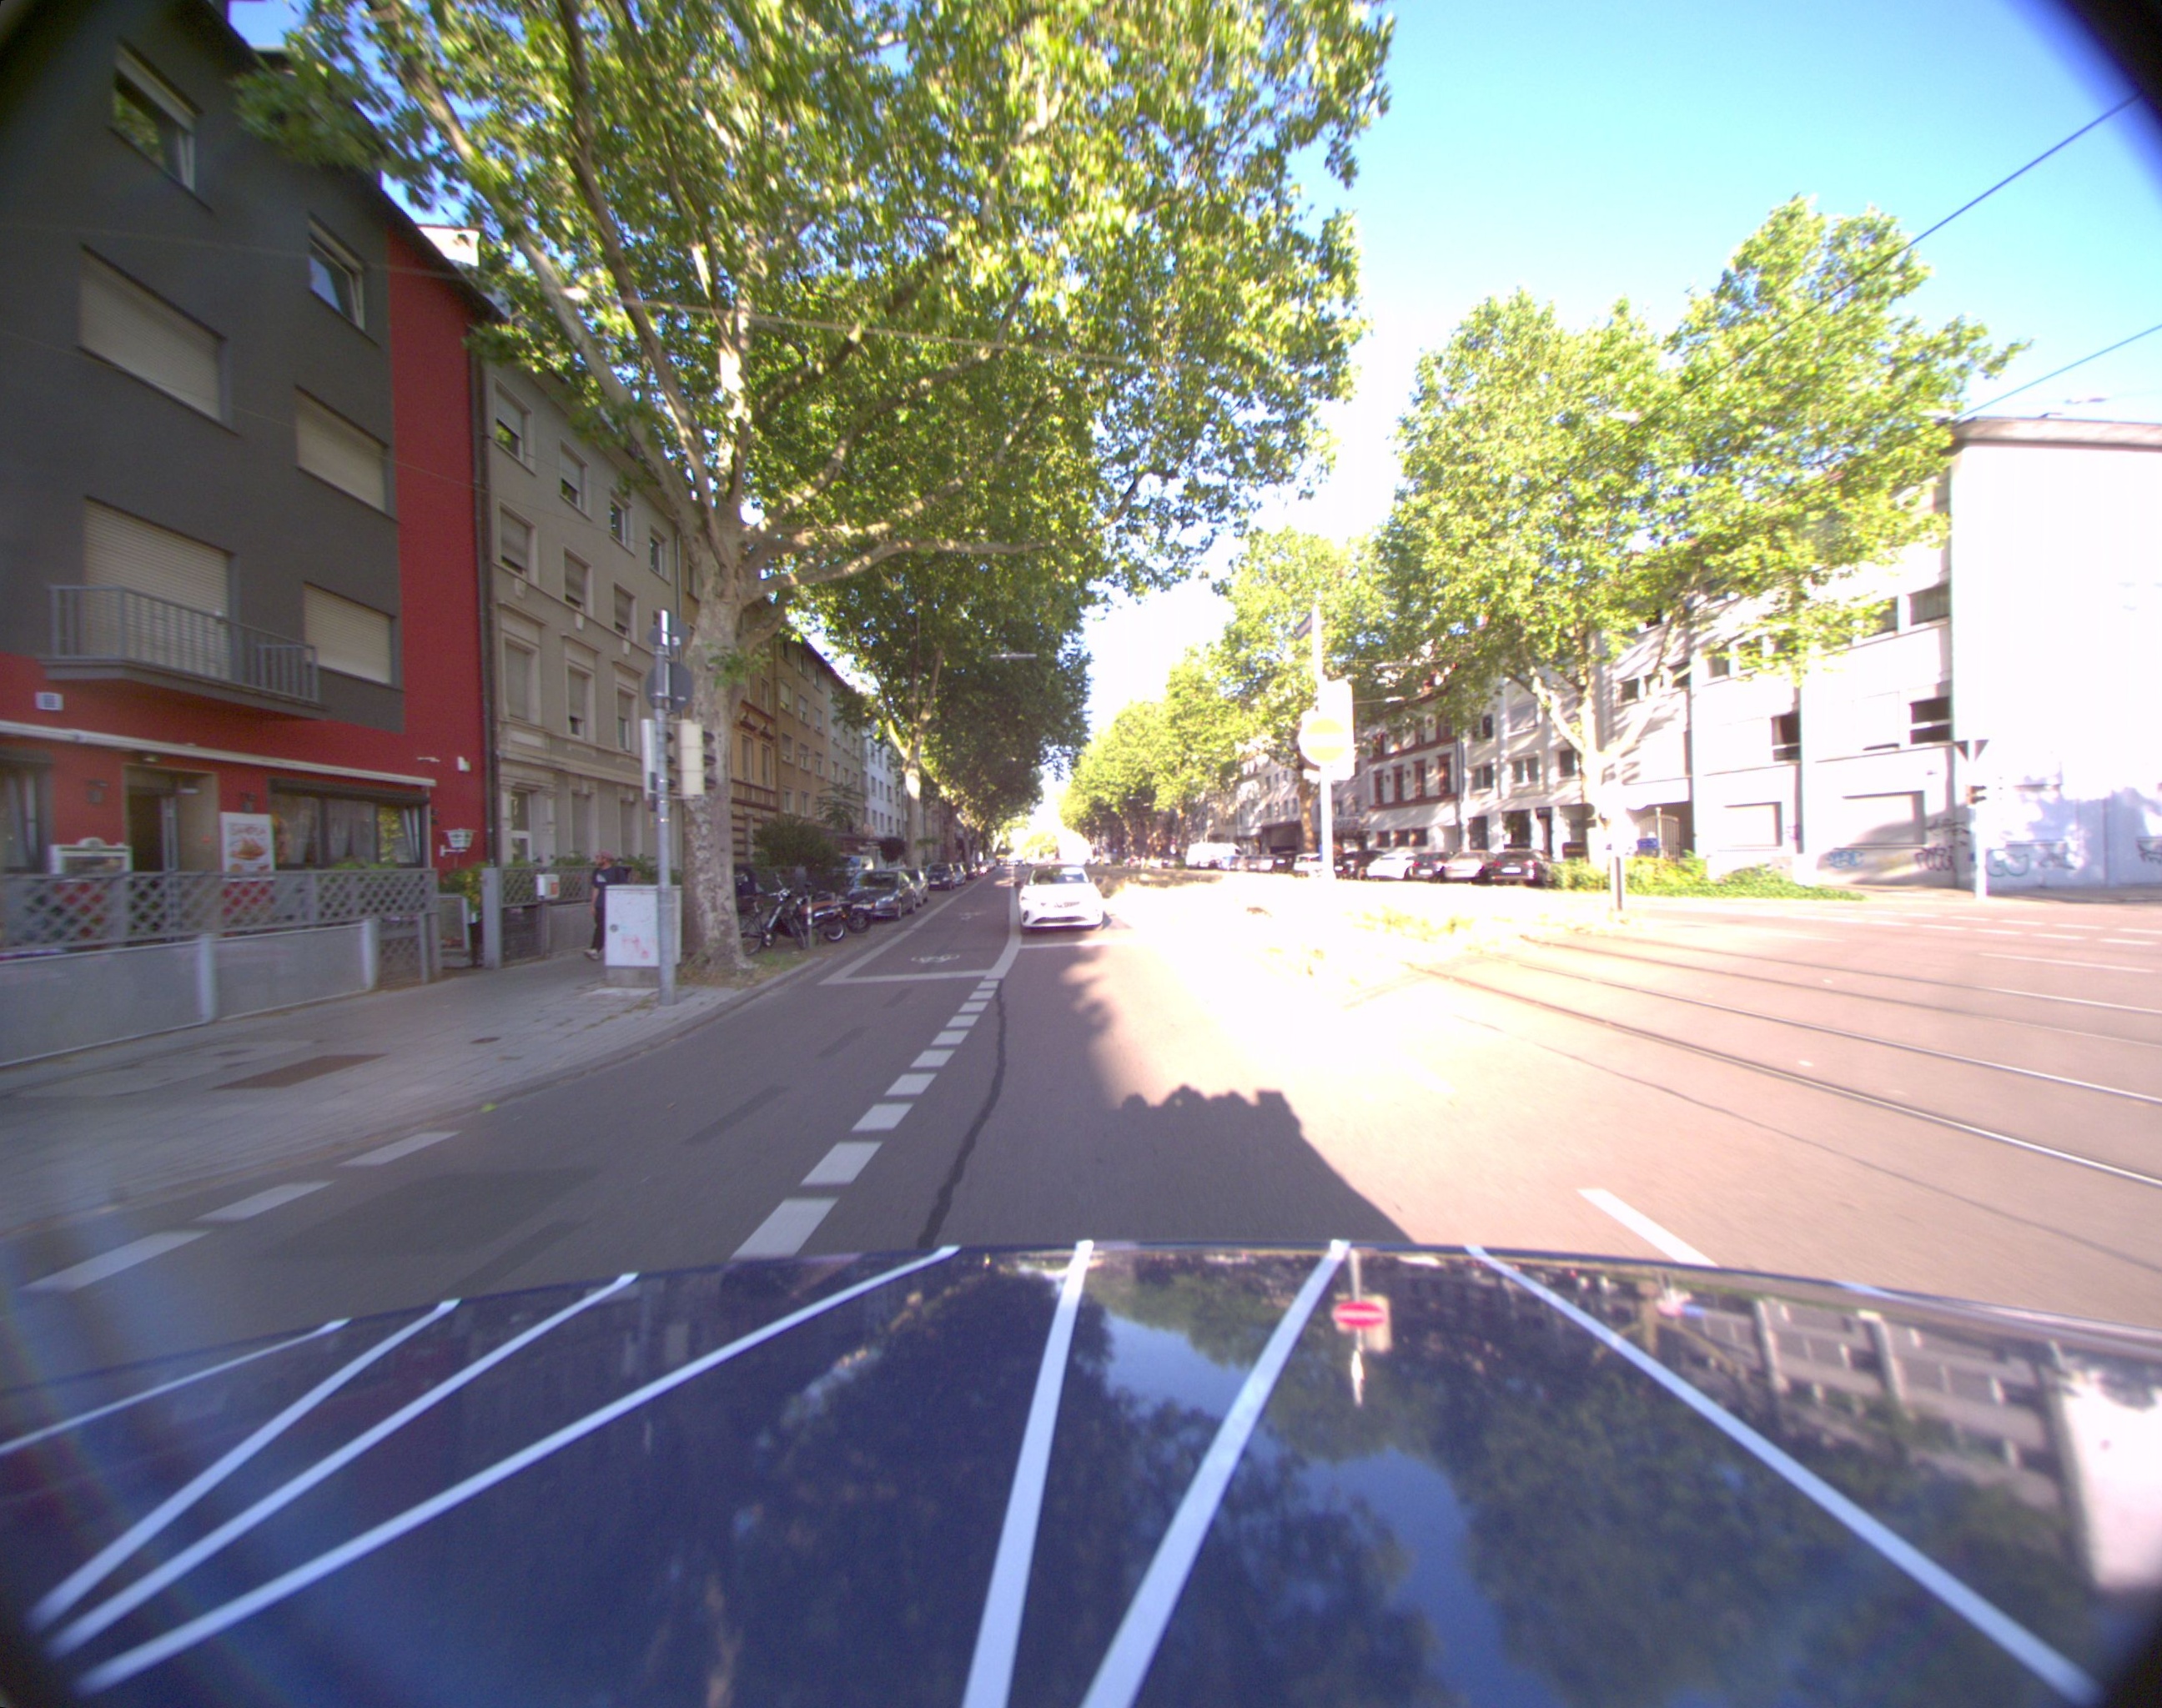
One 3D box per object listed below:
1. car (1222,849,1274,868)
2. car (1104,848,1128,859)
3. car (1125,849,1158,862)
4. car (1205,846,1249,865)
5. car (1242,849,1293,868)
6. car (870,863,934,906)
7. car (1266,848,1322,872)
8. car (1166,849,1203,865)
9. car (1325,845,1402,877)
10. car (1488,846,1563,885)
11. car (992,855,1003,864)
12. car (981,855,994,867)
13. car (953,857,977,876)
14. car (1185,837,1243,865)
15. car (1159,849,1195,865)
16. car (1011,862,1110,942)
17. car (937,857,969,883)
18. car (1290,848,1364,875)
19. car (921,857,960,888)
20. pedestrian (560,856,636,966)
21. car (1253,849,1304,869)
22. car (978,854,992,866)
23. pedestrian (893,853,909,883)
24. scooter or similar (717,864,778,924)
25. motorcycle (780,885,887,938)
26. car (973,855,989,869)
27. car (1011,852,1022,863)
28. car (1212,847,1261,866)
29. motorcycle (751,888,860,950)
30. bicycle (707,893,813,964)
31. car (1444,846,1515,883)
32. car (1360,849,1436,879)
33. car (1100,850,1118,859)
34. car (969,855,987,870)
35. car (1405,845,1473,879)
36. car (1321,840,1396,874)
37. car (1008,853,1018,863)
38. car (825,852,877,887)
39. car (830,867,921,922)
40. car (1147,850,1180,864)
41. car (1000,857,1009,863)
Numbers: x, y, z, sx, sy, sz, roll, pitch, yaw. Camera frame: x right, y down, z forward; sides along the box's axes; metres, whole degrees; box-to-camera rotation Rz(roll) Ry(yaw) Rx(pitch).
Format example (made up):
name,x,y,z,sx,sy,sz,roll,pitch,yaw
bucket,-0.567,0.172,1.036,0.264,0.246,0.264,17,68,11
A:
name,x,y,z,sx,sy,sz,roll,pitch,yaw
car,14.496,0.355,65.919,4.005,1.509,1.996,-2,0,-25
car,6.944,-0.104,150.287,2.096,2.200,4.952,-1,1,43
car,8.298,0.192,104.264,4.236,1.696,1.998,-2,0,-9
car,14.503,0.149,75.548,4.006,1.805,1.995,-2,1,-32
car,15.182,0.374,61.769,4.265,1.449,1.902,-2,0,-40
car,-6.653,1.091,28.619,1.804,1.446,4.509,1,0,-6
car,15.460,0.426,55.040,4.266,1.605,1.902,-2,1,-43
car,12.340,0.335,90.417,4.006,1.805,1.995,-2,1,-32
car,15.845,0.375,42.531,4.265,1.674,2.147,-2,0,-39
car,17.760,0.428,30.284,1.767,1.423,3.979,-1,0,43
car,-14.146,0.941,128.729,1.803,1.598,3.700,1,0,-5
car,-13.716,0.962,111.376,1.803,1.742,4.102,1,0,-5
car,-9.825,1.052,64.574,1.803,1.494,4.367,1,0,-5
car,13.727,-0.313,78.326,5.621,2.684,2.175,-2,1,-29
car,11.883,0.339,93.661,4.006,1.805,1.995,-2,1,-32
car,-0.574,0.956,16.765,1.866,1.394,3.930,-3,0,-5
car,-8.531,1.048,50.997,1.803,1.599,4.367,1,0,-5
car,15.344,0.440,47.420,4.261,1.548,1.640,-2,1,-20
car,-7.947,1.021,43.387,1.803,1.599,4.367,1,0,-5
pedestrian,-7.795,0.895,12.295,0.728,1.701,0.815,1,1,-5
car,15.228,0.380,58.485,4.265,1.451,1.598,-2,1,-40
car,-13.217,0.837,105.071,1.803,1.599,4.102,1,0,-5
pedestrian,-9.695,0.757,40.937,0.728,1.571,0.701,-1,1,-5
scooter or similar,-8.939,1.017,20.489,0.666,1.461,2.543,-2,0,-4
motorcycle,-5.588,1.275,17.213,2.217,1.104,0.662,1,-1,-32
car,-12.132,0.953,92.537,1.803,1.599,4.102,1,0,-5
car,-13.025,0.633,153.091,1.999,2.002,3.998,-3,1,-5
car,14.137,0.250,69.026,4.006,1.608,1.995,-2,0,-32
motorcycle,-5.441,1.247,15.086,0.783,1.104,1.895,-1,-2,43
bicycle,-5.608,1.271,13.384,0.620,1.104,1.804,0,-1,23
car,17.603,0.437,33.467,1.738,1.424,3.979,-3,-1,43
car,16.441,0.496,39.264,2.147,1.369,4.266,-1,0,45
car,6.392,0.121,173.721,3.995,1.802,1.874,-2,1,5
car,-11.401,0.945,84.537,1.803,1.599,4.102,1,0,-5
car,17.447,0.384,36.941,1.827,1.495,3.979,-2,0,43
car,16.827,0.182,46.008,4.261,1.932,1.514,-2,1,-20
car,-15.321,0.950,171.697,1.999,2.002,3.998,-3,1,-4
car,-12.896,0.814,42.881,1.934,1.864,4.675,1,0,-5
car,-5.942,1.127,22.494,1.803,1.393,4.368,1,0,-4
car,11.117,0.408,102.061,4.006,1.696,1.995,-2,0,-32
car,-22.677,1.773,224.678,1.998,1.850,3.999,-3,1,0
